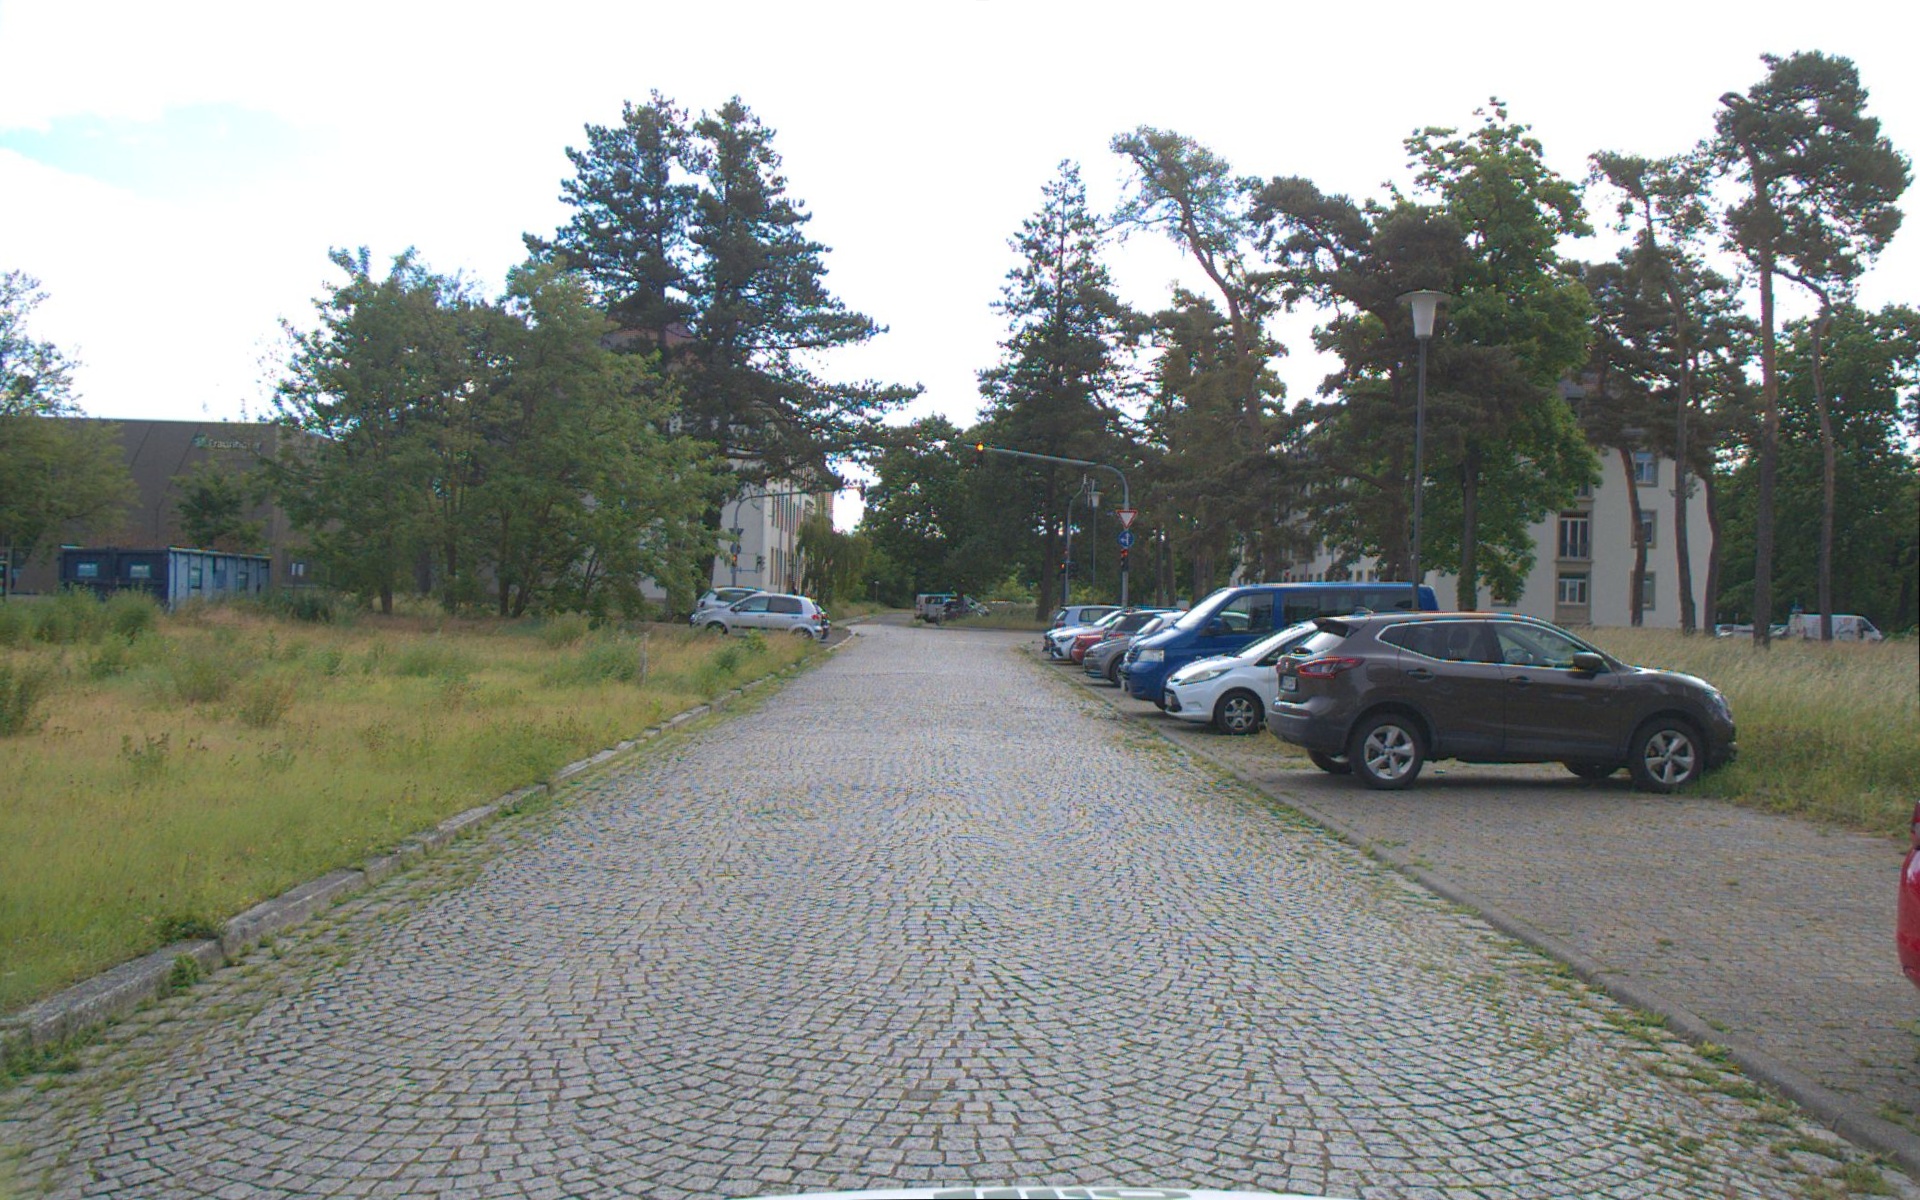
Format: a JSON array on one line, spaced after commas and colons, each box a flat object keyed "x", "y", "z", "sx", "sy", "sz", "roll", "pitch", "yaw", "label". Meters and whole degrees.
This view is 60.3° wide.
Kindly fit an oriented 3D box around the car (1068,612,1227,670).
[{"x": 4.321, "y": 0.937, "z": 38.393, "sx": 3.513, "sy": 1.244, "sz": 1.628, "roll": 1, "pitch": 0, "yaw": 0, "label": "car"}]

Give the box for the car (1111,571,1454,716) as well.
[{"x": 4.726, "y": 0.625, "z": 24.696, "sx": 4.700, "sy": 2.039, "sz": 1.965, "roll": 1, "pitch": 0, "yaw": -3, "label": "car"}]

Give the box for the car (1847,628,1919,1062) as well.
[{"x": 5.338, "y": 0.897, "z": 5.503, "sx": 3.845, "sy": 1.522, "sz": 1.784, "roll": 1, "pitch": 0, "yaw": -3, "label": "car"}]

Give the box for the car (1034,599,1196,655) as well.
[{"x": 4.283, "y": 0.744, "z": 45.864, "sx": 4.154, "sy": 1.505, "sz": 1.704, "roll": 1, "pitch": 0, "yaw": -12, "label": "car"}]

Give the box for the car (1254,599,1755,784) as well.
[{"x": 5.078, "y": 0.829, "z": 15.802, "sx": 4.120, "sy": 1.623, "sz": 1.952, "roll": 1, "pitch": 0, "yaw": -4, "label": "car"}]

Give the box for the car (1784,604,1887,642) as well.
[{"x": 54.340, "y": 1.402, "z": 102.733, "sx": 5.193, "sy": 2.055, "sz": 2.105, "roll": 3, "pitch": 0, "yaw": -1, "label": "car"}]

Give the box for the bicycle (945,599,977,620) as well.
[{"x": 0.070, "y": 0.580, "z": 100.434, "sx": 1.846, "sy": 1.191, "sz": 0.664, "roll": 3, "pitch": 0, "yaw": -7, "label": "bicycle"}]

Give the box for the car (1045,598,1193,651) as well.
[{"x": 4.630, "y": 0.708, "z": 48.426, "sx": 4.056, "sy": 1.489, "sz": 1.631, "roll": 1, "pitch": 0, "yaw": -7, "label": "car"}]

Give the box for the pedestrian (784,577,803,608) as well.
[{"x": -11.341, "y": -0.511, "z": 112.662, "sx": 1.052, "sy": 1.993, "sz": 1.121, "roll": 3, "pitch": 0, "yaw": -1, "label": "pedestrian"}]

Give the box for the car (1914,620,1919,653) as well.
[{"x": 55.673, "y": 2.154, "z": 92.031, "sx": 4.048, "sy": 1.835, "sz": 1.900, "roll": 3, "pitch": 0, "yaw": 1, "label": "car"}]

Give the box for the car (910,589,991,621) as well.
[{"x": -0.643, "y": 0.342, "z": 115.222, "sx": 5.284, "sy": 2.138, "sz": 2.171, "roll": 1, "pitch": 0, "yaw": -14, "label": "car"}]

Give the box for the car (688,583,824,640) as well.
[{"x": -6.452, "y": 0.360, "z": 52.624, "sx": 4.215, "sy": 1.762, "sz": 1.650, "roll": 1, "pitch": 0, "yaw": -7, "label": "car"}]

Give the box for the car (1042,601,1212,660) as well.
[{"x": 4.319, "y": 0.795, "z": 43.098, "sx": 4.107, "sy": 1.462, "sz": 1.752, "roll": 1, "pitch": 0, "yaw": -9, "label": "car"}]

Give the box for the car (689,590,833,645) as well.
[{"x": -5.973, "y": 0.521, "z": 49.830, "sx": 4.216, "sy": 1.581, "sz": 1.809, "roll": 1, "pitch": 0, "yaw": -7, "label": "car"}]

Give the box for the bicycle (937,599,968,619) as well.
[{"x": -0.495, "y": 0.559, "z": 103.917, "sx": 1.846, "sy": 1.191, "sz": 0.664, "roll": 3, "pitch": 0, "yaw": -7, "label": "bicycle"}]

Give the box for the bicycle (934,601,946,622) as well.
[{"x": -1.175, "y": 0.653, "z": 95.768, "sx": 0.649, "sy": 1.191, "sz": 1.887, "roll": 3, "pitch": 0, "yaw": -1, "label": "bicycle"}]

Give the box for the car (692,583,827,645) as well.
[{"x": -5.692, "y": 0.379, "z": 47.241, "sx": 3.648, "sy": 1.506, "sz": 1.672, "roll": 4, "pitch": 0, "yaw": -4, "label": "car"}]

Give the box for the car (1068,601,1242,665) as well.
[{"x": 4.768, "y": 0.799, "z": 40.747, "sx": 4.023, "sy": 1.502, "sz": 1.684, "roll": 1, "pitch": 0, "yaw": -3, "label": "car"}]

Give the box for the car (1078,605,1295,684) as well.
[{"x": 4.454, "y": 0.857, "z": 32.903, "sx": 4.046, "sy": 1.472, "sz": 1.765, "roll": 1, "pitch": 0, "yaw": -1, "label": "car"}]

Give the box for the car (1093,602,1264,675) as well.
[{"x": 4.694, "y": 0.813, "z": 35.777, "sx": 3.434, "sy": 1.513, "sz": 1.742, "roll": 1, "pitch": 0, "yaw": -2, "label": "car"}]

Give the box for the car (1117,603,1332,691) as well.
[{"x": 4.745, "y": 0.830, "z": 30.005, "sx": 3.579, "sy": 1.504, "sz": 1.765, "roll": 1, "pitch": 0, "yaw": -2, "label": "car"}]

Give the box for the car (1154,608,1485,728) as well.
[{"x": 4.749, "y": 0.881, "z": 22.151, "sx": 4.017, "sy": 1.504, "sz": 1.720, "roll": 1, "pitch": 0, "yaw": -4, "label": "car"}]
